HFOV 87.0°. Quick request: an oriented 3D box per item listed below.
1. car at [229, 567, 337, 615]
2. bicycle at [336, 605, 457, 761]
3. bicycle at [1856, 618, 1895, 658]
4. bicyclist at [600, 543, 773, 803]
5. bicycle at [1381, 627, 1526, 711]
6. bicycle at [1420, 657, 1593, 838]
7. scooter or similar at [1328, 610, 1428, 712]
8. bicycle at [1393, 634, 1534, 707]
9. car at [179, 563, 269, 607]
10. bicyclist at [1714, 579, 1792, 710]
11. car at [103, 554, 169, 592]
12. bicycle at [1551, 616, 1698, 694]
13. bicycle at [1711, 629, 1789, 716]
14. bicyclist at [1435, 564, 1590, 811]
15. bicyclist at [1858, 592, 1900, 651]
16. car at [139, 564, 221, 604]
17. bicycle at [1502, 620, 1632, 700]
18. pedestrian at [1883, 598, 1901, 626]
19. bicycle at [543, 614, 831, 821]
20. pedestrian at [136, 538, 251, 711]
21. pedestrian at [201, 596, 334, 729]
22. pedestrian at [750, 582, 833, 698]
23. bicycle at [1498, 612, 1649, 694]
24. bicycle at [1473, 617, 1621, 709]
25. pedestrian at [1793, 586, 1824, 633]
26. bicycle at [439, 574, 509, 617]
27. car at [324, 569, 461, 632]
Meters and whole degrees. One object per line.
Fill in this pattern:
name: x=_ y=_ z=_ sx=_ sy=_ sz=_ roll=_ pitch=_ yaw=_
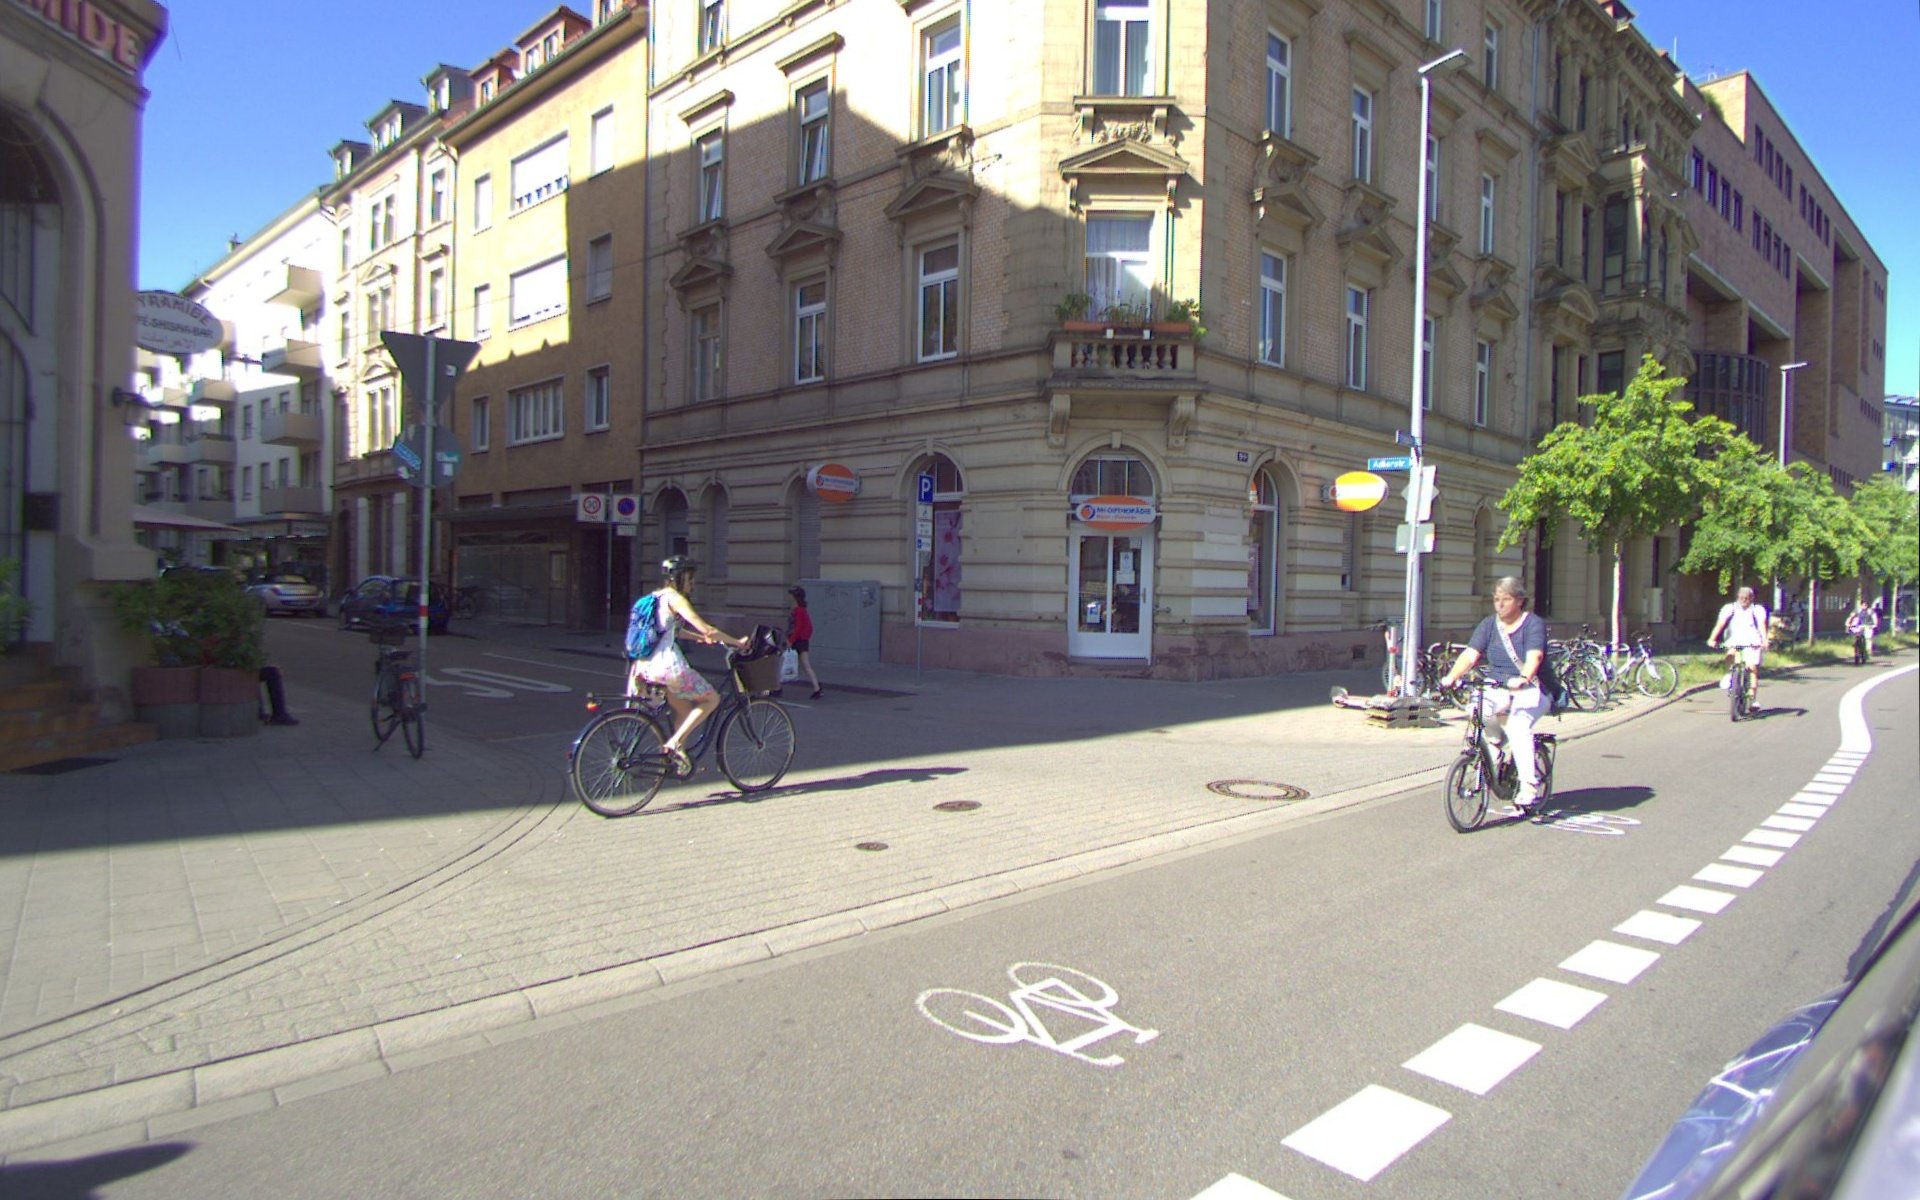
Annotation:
car: x=-21.290 y=-0.286 z=31.769 sx=3.983 sy=1.351 sz=1.775 roll=2 pitch=-1 yaw=40
bicycle: x=-5.031 y=0.684 z=8.974 sx=0.641 sy=1.186 sz=1.823 roll=5 pitch=-1 yaw=-36
bicycle: x=26.201 y=1.076 z=28.943 sx=1.480 sy=1.110 sz=0.578 roll=0 pitch=-1 yaw=-38
bicyclist: x=-1.892 y=0.458 z=7.014 sx=0.944 sy=1.659 sz=0.667 roll=1 pitch=1 yaw=-41
bicycle: x=6.641 y=0.902 z=13.701 sx=0.595 sy=0.955 sz=1.677 roll=1 pitch=1 yaw=-33
bicycle: x=3.765 y=0.943 z=6.924 sx=1.481 sy=1.040 sz=0.558 roll=0 pitch=-1 yaw=-41
scooter or similar: x=5.375 y=0.765 z=13.061 sx=0.411 sy=1.204 sz=1.115 roll=1 pitch=1 yaw=-33
bicycle: x=7.045 y=0.963 z=14.237 sx=0.595 sy=0.831 sz=1.677 roll=1 pitch=2 yaw=-33
car: x=-26.040 y=-0.546 z=35.765 sx=3.757 sy=1.450 sz=1.776 roll=2 pitch=1 yaw=40
bicyclist: x=11.059 y=0.603 z=14.110 sx=0.893 sy=1.751 sz=0.684 roll=1 pitch=-1 yaw=-41
car: x=-37.562 y=-1.229 z=46.113 sx=3.758 sy=1.686 sz=1.775 roll=2 pitch=1 yaw=42
bicycle: x=11.504 y=0.915 z=17.550 sx=1.993 sy=1.106 sz=0.835 roll=5 pitch=3 yaw=40
bicycle: x=10.948 y=0.978 z=14.013 sx=1.481 sy=1.110 sz=0.577 roll=0 pitch=-1 yaw=-41
bicyclist: x=3.796 y=0.555 z=6.949 sx=0.893 sy=1.557 sz=0.658 roll=1 pitch=-1 yaw=-41
bicyclist: x=26.275 y=0.606 z=28.942 sx=0.748 sy=1.637 sz=0.755 roll=0 pitch=-1 yaw=-38
car: x=-30.115 y=-0.648 z=39.054 sx=3.757 sy=1.450 sz=1.776 roll=2 pitch=1 yaw=40
bicycle: x=9.521 y=0.916 z=15.920 sx=0.595 sy=1.058 sz=1.605 roll=1 pitch=3 yaw=-37
pedestrian: x=51.676 y=0.652 z=56.136 sx=0.723 sy=1.505 sz=0.633 roll=0 pitch=1 yaw=-41
bicycle: x=-1.849 y=0.734 z=7.058 sx=1.867 sy=1.238 sz=0.584 roll=0 pitch=1 yaw=-42
pedestrian: x=-8.363 y=0.252 z=11.038 sx=0.906 sy=1.783 sz=0.854 roll=0 pitch=0 yaw=43
pedestrian: x=-6.857 y=0.575 z=10.023 sx=0.849 sy=1.229 sz=0.920 roll=0 pitch=0 yaw=43
pedestrian: x=-2.355 y=0.532 z=14.169 sx=0.914 sy=1.561 sz=0.708 roll=1 pitch=1 yaw=16
bicycle: x=10.279 y=0.855 z=17.025 sx=0.697 sy=1.142 sz=2.001 roll=1 pitch=3 yaw=-39
bicycle: x=8.513 y=0.877 z=14.744 sx=0.595 sy=1.114 sz=1.729 roll=1 pitch=3 yaw=-37
pedestrian: x=34.752 y=0.383 z=41.445 sx=1.087 sy=1.906 sz=0.789 roll=0 pitch=1 yaw=-41
bicycle: x=-14.349 y=-0.139 z=29.868 sx=1.988 sy=1.193 sz=0.629 roll=1 pitch=1 yaw=19
car: x=-14.601 y=-0.002 z=25.964 sx=3.983 sy=1.438 sz=1.775 roll=2 pitch=-1 yaw=40
